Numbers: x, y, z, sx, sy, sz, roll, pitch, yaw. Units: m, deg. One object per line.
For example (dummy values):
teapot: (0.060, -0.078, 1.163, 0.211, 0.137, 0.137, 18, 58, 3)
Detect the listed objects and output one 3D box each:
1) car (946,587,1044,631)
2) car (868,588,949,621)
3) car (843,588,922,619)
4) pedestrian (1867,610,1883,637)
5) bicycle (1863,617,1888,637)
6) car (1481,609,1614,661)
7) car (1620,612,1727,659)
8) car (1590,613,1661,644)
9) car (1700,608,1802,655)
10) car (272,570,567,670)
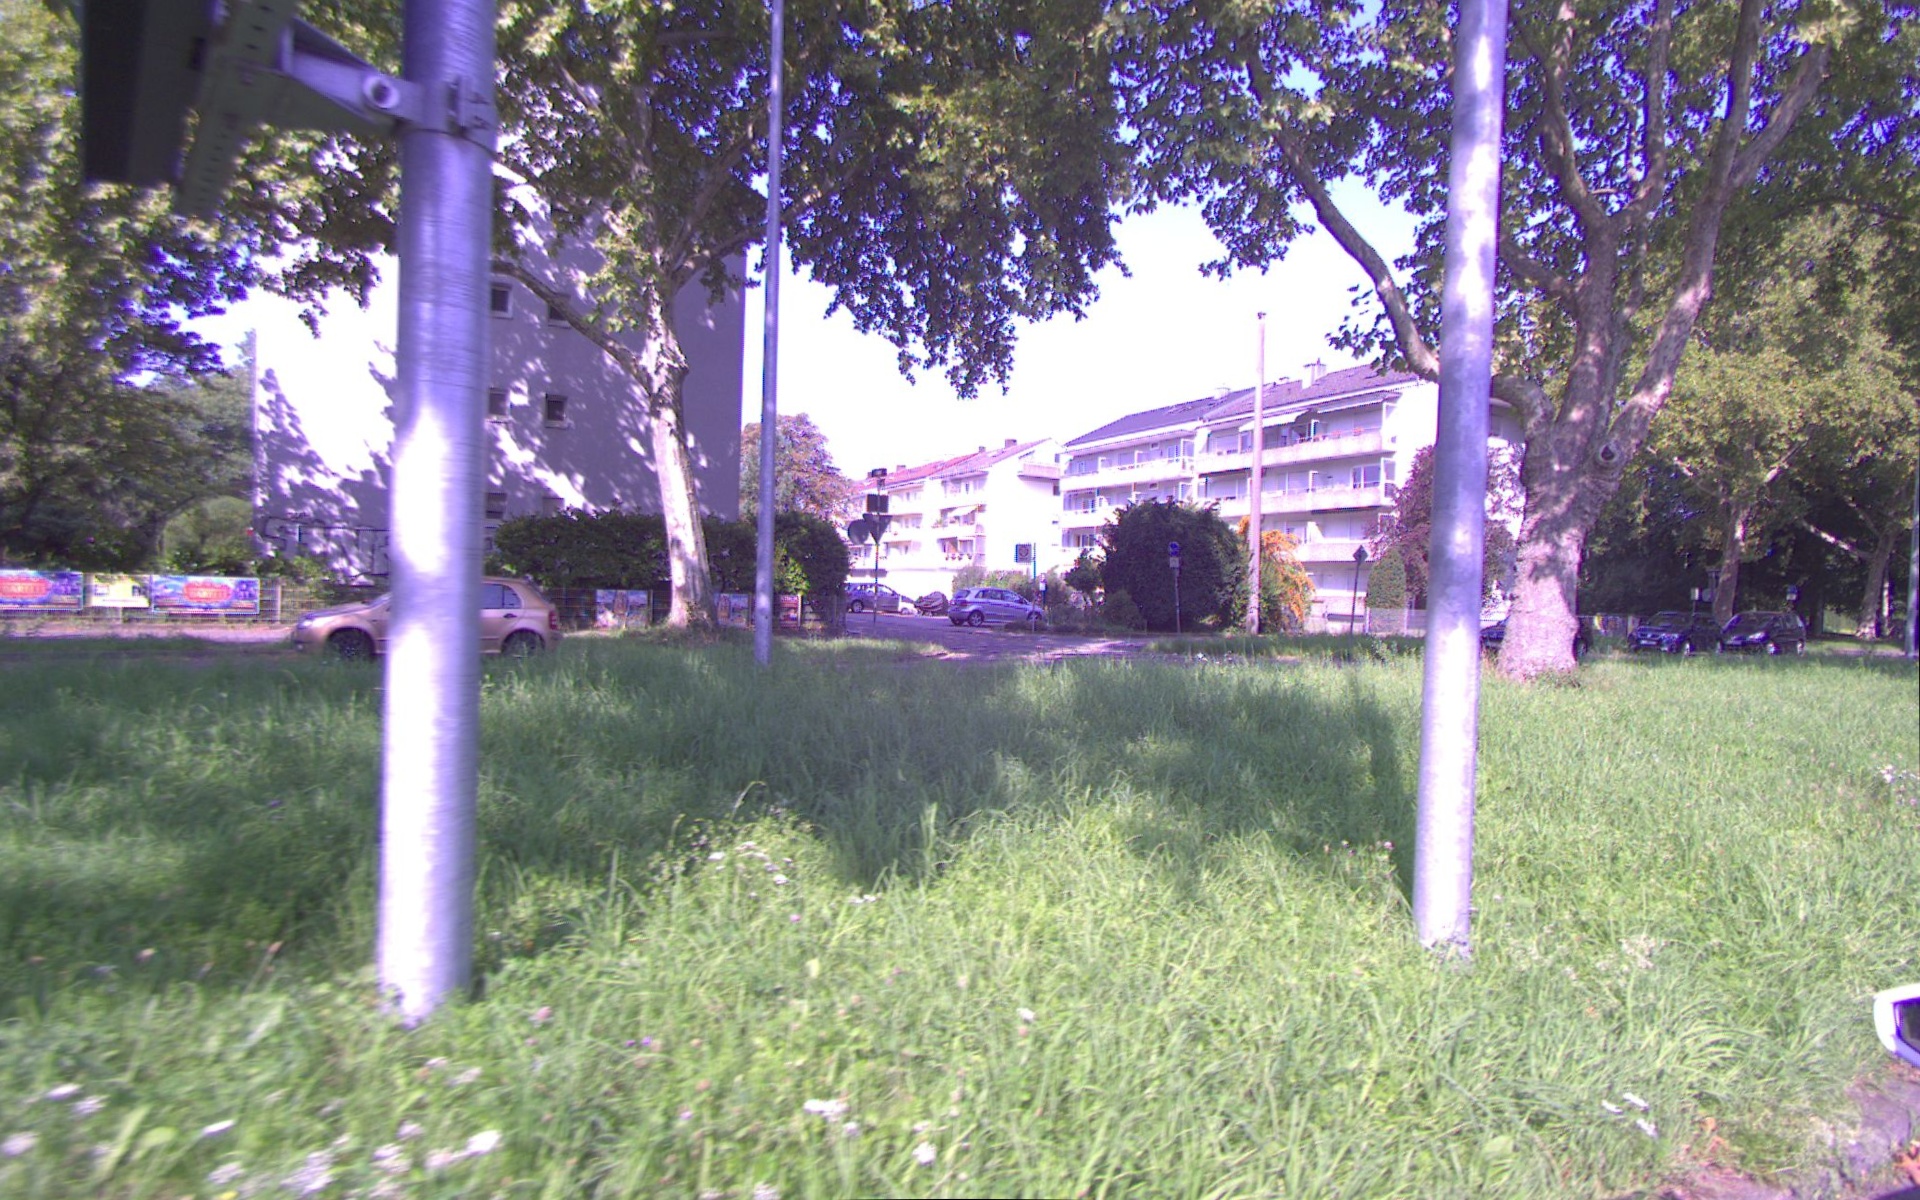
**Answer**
car: (1.444, 0.367, 41.491, 3.695, 1.648, 1.605, 2, 1, -23)
car: (-2.493, 0.210, 49.070, 3.633, 1.458, 1.537, 2, 1, -26)
car: (-3.900, 0.187, 50.673, 3.633, 1.458, 1.537, 2, 1, -26)
pedestrian: (57.727, 1.475, 63.358, 0.651, 1.713, 0.539, 1, 1, -34)
bicycle: (57.733, 1.729, 63.349, 2.733, 1.215, 0.541, 1, 1, -34)
car: (18.924, 1.121, 32.306, 4.487, 1.528, 1.691, 1, 1, -30)
car: (26.106, 1.300, 36.730, 3.953, 1.589, 1.691, 1, 1, -30)
car: (41.685, 1.790, 62.924, 4.330, 1.749, 1.691, 2, 1, -26)
car: (32.420, 1.302, 41.124, 4.605, 1.755, 1.691, 2, 1, -30)
car: (-8.687, 0.304, 16.415, 4.014, 1.449, 1.794, 1, 2, -29)
